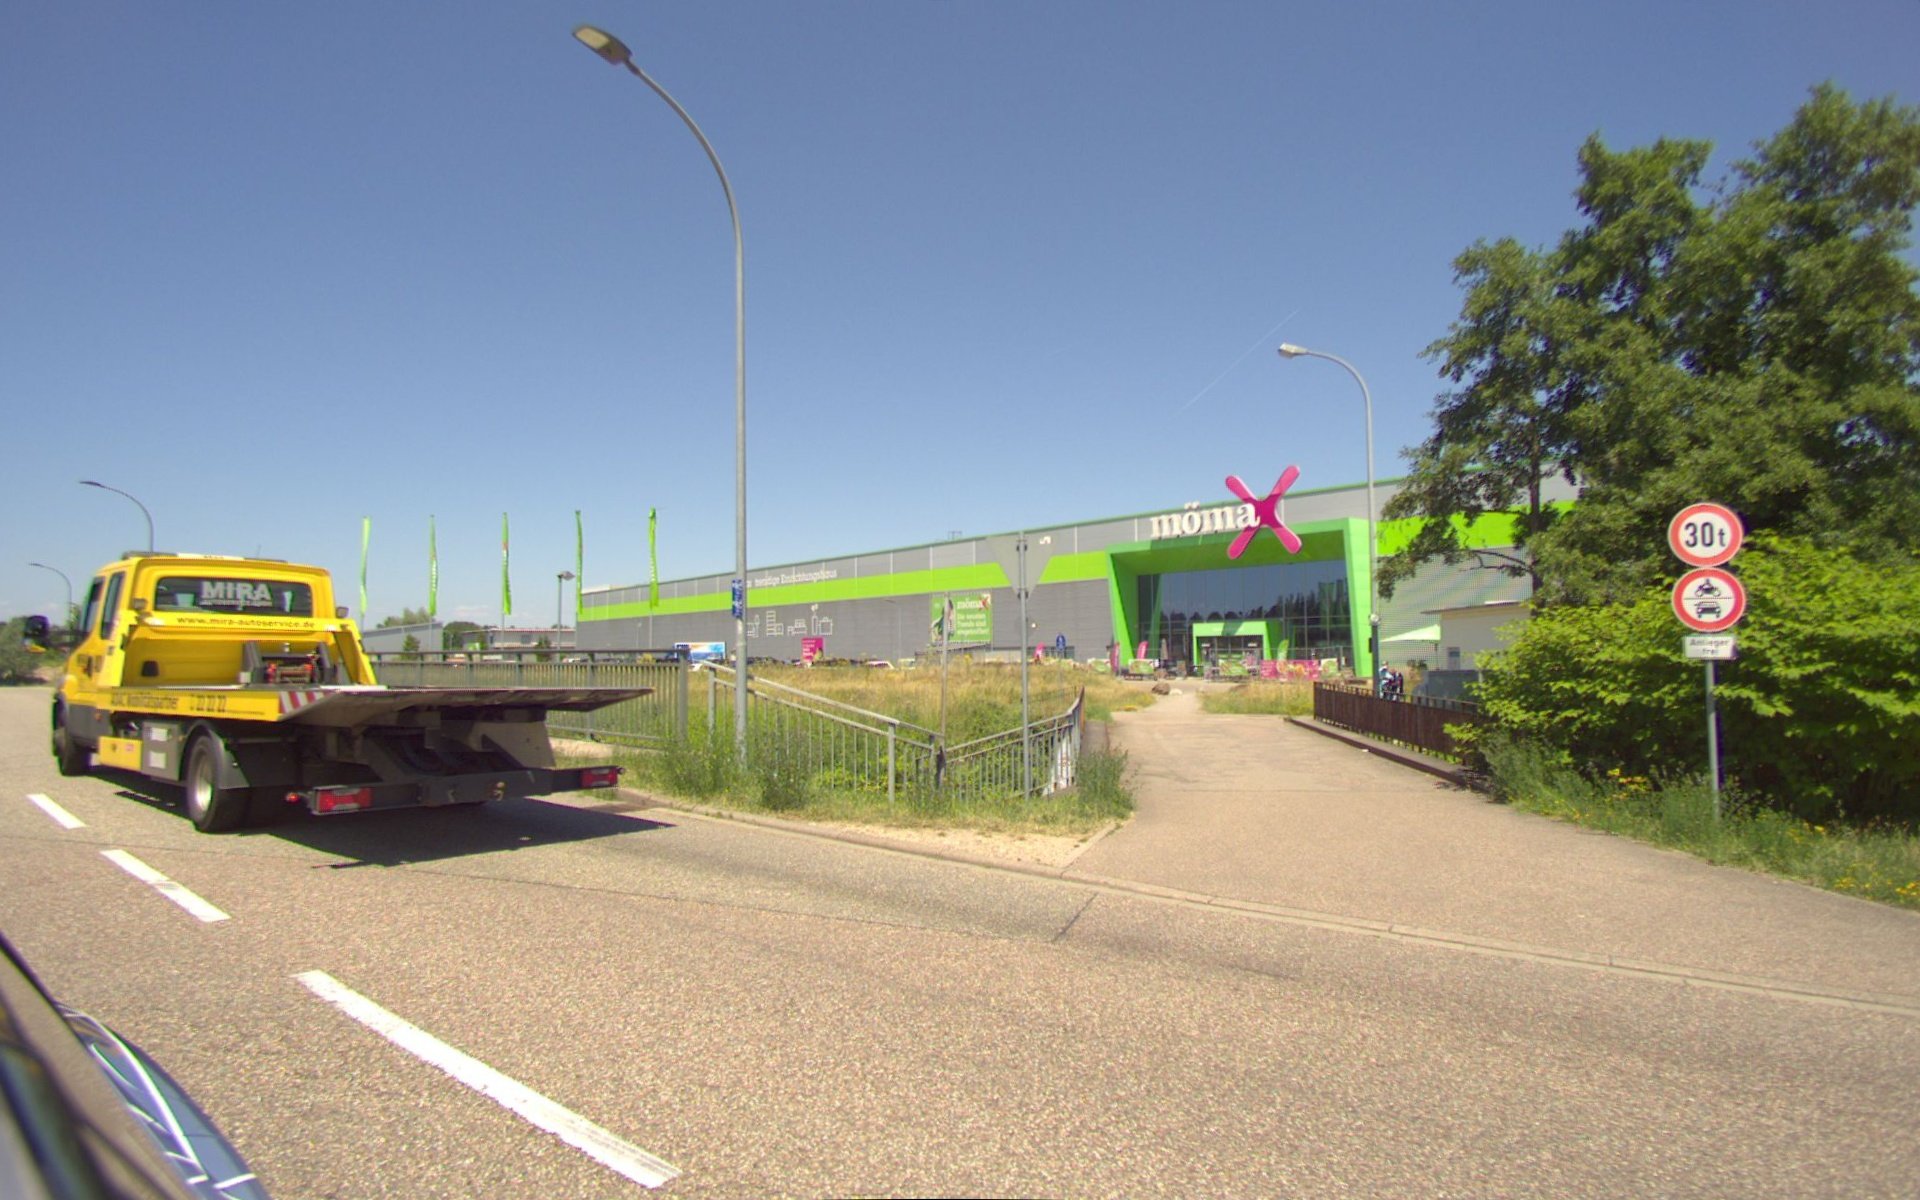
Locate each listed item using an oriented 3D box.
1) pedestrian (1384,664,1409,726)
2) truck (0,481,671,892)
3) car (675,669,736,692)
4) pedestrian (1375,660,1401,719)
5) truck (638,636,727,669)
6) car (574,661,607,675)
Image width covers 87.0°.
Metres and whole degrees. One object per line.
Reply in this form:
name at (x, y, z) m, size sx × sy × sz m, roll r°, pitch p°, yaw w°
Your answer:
pedestrian at (12.393, 2.695, 28.771) m, size 0.594 × 1.686 × 0.624 m, roll -2°, pitch -1°, yaw 22°
truck at (-6.475, 0.655, 9.511) m, size 9.038 × 2.355 × 2.289 m, roll -2°, pitch -5°, yaw 38°
car at (-18.781, 5.942, 74.666) m, size 3.940 × 1.448 × 1.848 m, roll 0°, pitch -4°, yaw -43°
pedestrian at (12.438, 2.591, 29.414) m, size 0.624 × 1.686 × 0.511 m, roll -2°, pitch -1°, yaw 22°
truck at (-25.776, 4.899, 94.254) m, size 7.653 × 2.704 × 2.967 m, roll -2°, pitch -4°, yaw -8°
car at (-51.894, 9.586, 142.042) m, size 3.938 × 1.752 × 2.003 m, roll 0°, pitch -3°, yaw -41°
